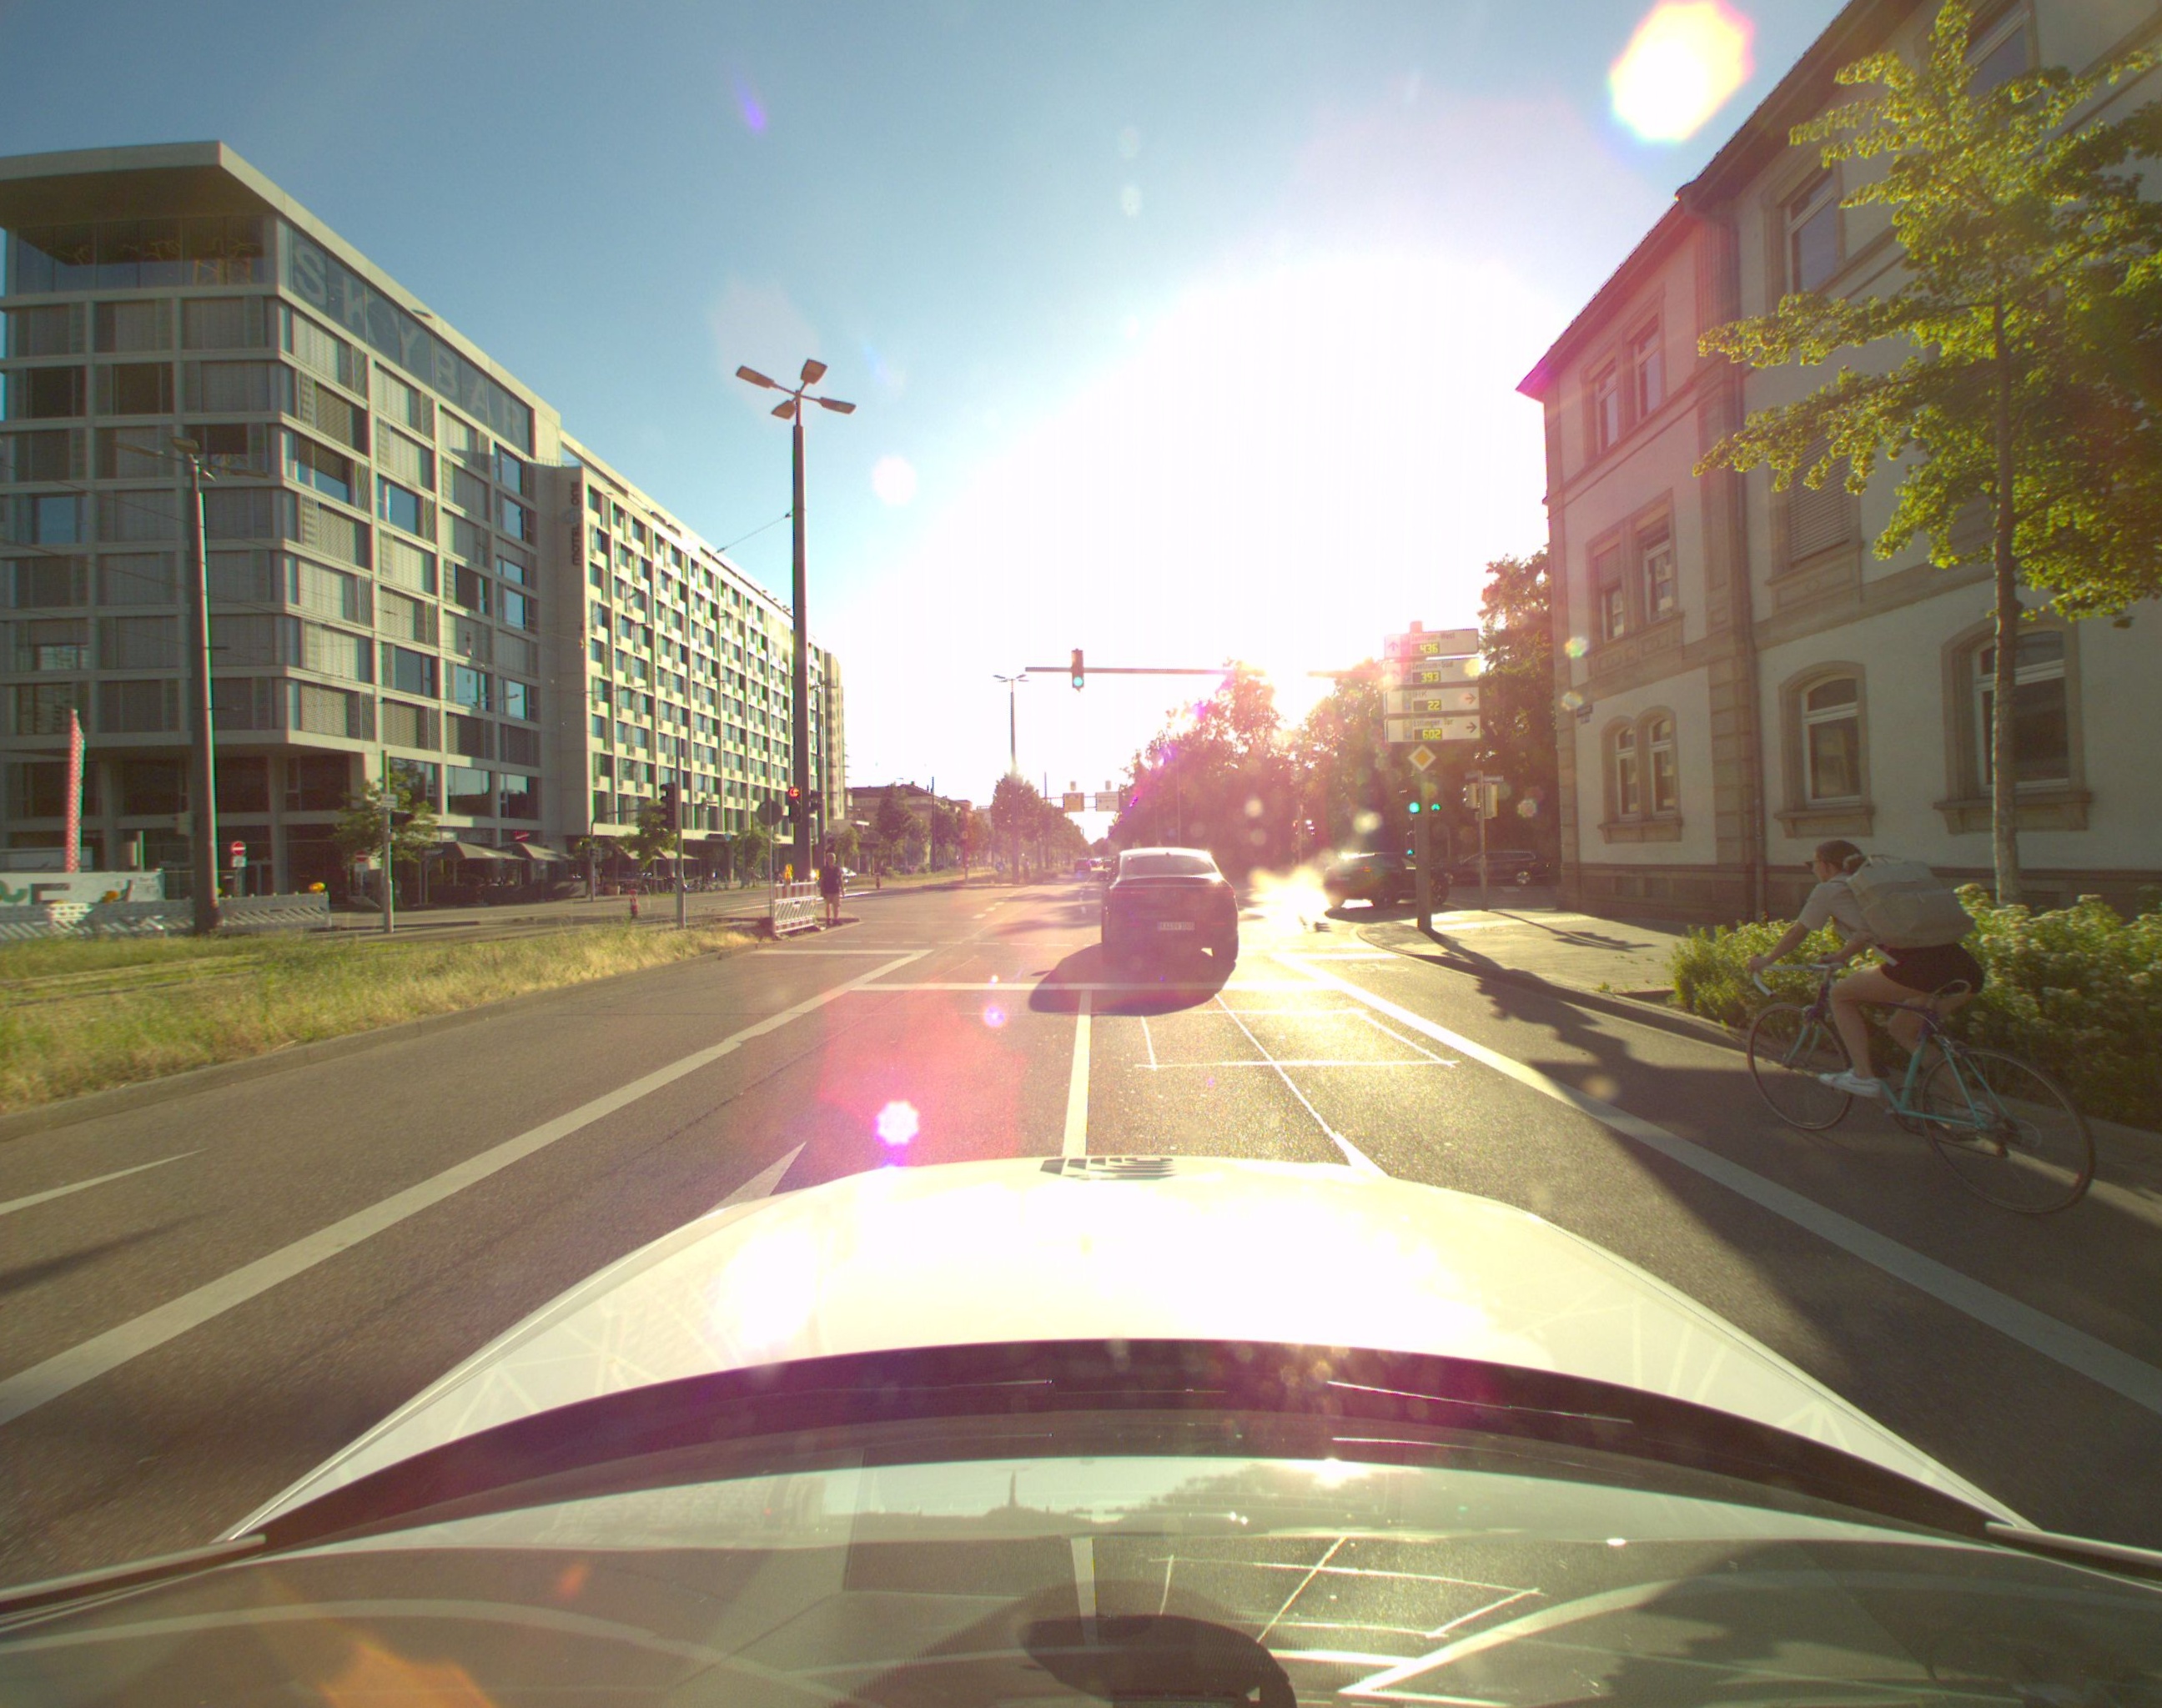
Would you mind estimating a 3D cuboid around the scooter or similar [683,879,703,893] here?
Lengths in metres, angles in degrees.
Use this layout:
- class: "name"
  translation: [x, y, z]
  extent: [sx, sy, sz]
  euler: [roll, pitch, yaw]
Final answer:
- class: "scooter or similar"
  translation: [-29.081, 2.388, 61.015]
  extent: [1.238, 1.019, 0.511]
  euler: [-2, 0, 2]

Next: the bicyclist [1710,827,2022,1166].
- class: "bicyclist"
  translation: [3.889, 0.631, 4.144]
  extent: [0.550, 1.491, 1.082]
  euler: [-2, 0, 4]

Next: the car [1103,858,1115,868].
- class: "car"
  translation: [4.488, 1.416, 131.277]
  extent: [1.879, 1.580, 4.001]
  euler: [-1, 0, 1]

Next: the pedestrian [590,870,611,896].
- class: "pedestrian"
  translation: [-32.801, 1.955, 55.630]
  extent: [0.864, 1.721, 0.806]
  euler: [-2, 0, 11]

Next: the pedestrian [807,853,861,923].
- class: "pedestrian"
  translation: [-5.928, 0.806, 19.570]
  extent: [0.916, 1.649, 0.769]
  euler: [-2, -1, 20]

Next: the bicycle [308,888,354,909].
- class: "bicycle"
  translation: [-38.623, 2.274, 41.959]
  extent: [0.533, 0.936, 1.901]
  euler: [-2, 0, 1]

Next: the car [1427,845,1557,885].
- class: "car"
  translation: [16.607, 0.472, 33.089]
  extent: [4.544, 1.474, 1.914]
  euler: [-2, -1, 26]

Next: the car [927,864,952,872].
- class: "car"
  translation: [-26.067, 2.584, 150.216]
  extent: [4.021, 1.563, 1.976]
  euler: [0, 0, -40]

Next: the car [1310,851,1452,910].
- class: "car"
  translation: [8.681, 0.713, 23.468]
  extent: [4.076, 1.527, 1.882]
  euler: [-1, 0, -35]

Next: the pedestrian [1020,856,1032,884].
- class: "pedestrian"
  translation: [-3.397, 0.976, 50.227]
  extent: [0.595, 1.699, 0.715]
  euler: [-2, 0, 7]

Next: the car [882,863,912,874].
- class: "car"
  translation: [-27.522, 2.213, 121.978]
  extent: [4.116, 1.601, 1.730]
  euler: [1, 0, -39]

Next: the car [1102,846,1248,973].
- class: "car"
  translation: [1.358, 0.746, 13.210]
  extent: [1.986, 1.734, 4.002]
  euler: [-1, 0, 2]

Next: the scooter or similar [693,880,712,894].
- class: "scooter or similar"
  translation: [-29.059, 2.529, 62.522]
  extent: [1.238, 1.019, 0.435]
  euler: [-2, 0, 2]

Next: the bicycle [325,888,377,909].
- class: "bicycle"
  translation: [-37.676, 2.271, 42.063]
  extent: [0.616, 0.936, 2.217]
  euler: [-2, 0, 1]

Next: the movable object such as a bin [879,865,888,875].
- class: "movable object such as a bin"
  translation: [-28.161, 2.274, 116.291]
  extent: [0.851, 1.358, 0.944]
  euler: [-2, -1, 16]

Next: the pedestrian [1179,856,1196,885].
- class: "pedestrian"
  translation: [6.384, 0.978, 48.775]
  extent: [0.766, 1.636, 0.768]
  euler: [-3, 0, -8]

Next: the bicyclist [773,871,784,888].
- class: "bicyclist"
  translation: [-26.325, 2.203, 70.912]
  extent: [0.622, 1.465, 0.851]
  euler: [-2, -1, 2]

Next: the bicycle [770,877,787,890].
- class: "bicycle"
  translation: [-26.326, 2.593, 70.891]
  extent: [0.622, 1.067, 2.079]
  euler: [-2, 0, 2]

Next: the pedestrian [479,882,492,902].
- class: "pedestrian"
  translation: [-37.442, 2.392, 51.198]
  extent: [0.430, 1.222, 0.497]
  euler: [-1, 0, 2]

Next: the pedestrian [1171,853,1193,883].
- class: "pedestrian"
  translation: [6.170, 0.862, 49.664]
  extent: [0.863, 1.802, 0.898]
  euler: [-3, 0, -33]

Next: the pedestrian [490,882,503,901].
- class: "pedestrian"
  translation: [-37.405, 2.395, 52.115]
  extent: [0.430, 1.222, 0.497]
  euler: [-1, 0, 2]

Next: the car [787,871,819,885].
- class: "car"
  translation: [-28.166, 2.393, 82.603]
  extent: [1.750, 1.328, 4.002]
  euler: [0, 0, 2]

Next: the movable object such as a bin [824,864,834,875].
- class: "movable object such as a bin"
  translation: [-34.582, 2.139, 111.874]
  extent: [0.797, 1.440, 1.403]
  euler: [-2, 0, 2]

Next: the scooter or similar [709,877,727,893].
- class: "scooter or similar"
  translation: [-28.786, 2.455, 64.562]
  extent: [1.238, 1.172, 0.406]
  euler: [-2, -1, 2]

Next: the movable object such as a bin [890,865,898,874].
- class: "movable object such as a bin"
  translation: [-26.768, 2.270, 116.586]
  extent: [0.851, 1.280, 0.944]
  euler: [-2, -1, 16]

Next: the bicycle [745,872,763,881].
- class: "bicycle"
  translation: [-35.463, 2.458, 88.318]
  extent: [1.801, 0.905, 0.511]
  euler: [-1, -1, -5]

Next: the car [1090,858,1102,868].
- class: "car"
  translation: [2.551, 1.498, 139.166]
  extent: [1.879, 1.580, 4.001]
  euler: [-1, 0, 1]

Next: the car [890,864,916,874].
- class: "car"
  translation: [-27.402, 2.248, 125.413]
  extent: [3.643, 1.523, 1.602]
  euler: [1, -1, -39]

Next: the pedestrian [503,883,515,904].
- class: "pedestrian"
  translation: [-33.261, 2.291, 47.333]
  extent: [0.363, 1.194, 0.433]
  euler: [-1, 0, -1]

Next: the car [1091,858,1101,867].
- class: "car"
  translation: [2.909, 1.552, 155.494]
  extent: [1.879, 1.580, 4.001]
  euler: [-1, 0, 1]

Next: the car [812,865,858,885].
- class: "car"
  translation: [-18.511, 1.541, 61.428]
  extent: [1.884, 1.343, 4.851]
  euler: [-2, 0, 1]

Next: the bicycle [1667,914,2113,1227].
- class: "bicycle"
  translation: [3.888, 0.935, 4.171]
  extent: [0.518, 1.097, 1.844]
  euler: [-2, 0, 4]

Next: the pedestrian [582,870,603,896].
- class: "pedestrian"
  translation: [-32.905, 1.952, 54.837]
  extent: [0.864, 1.721, 0.806]
  euler: [-2, 0, 11]

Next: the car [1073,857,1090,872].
- class: "car"
  translation: [0.092, 1.168, 93.990]
  extent: [1.879, 1.580, 4.001]
  euler: [-1, 0, 1]
